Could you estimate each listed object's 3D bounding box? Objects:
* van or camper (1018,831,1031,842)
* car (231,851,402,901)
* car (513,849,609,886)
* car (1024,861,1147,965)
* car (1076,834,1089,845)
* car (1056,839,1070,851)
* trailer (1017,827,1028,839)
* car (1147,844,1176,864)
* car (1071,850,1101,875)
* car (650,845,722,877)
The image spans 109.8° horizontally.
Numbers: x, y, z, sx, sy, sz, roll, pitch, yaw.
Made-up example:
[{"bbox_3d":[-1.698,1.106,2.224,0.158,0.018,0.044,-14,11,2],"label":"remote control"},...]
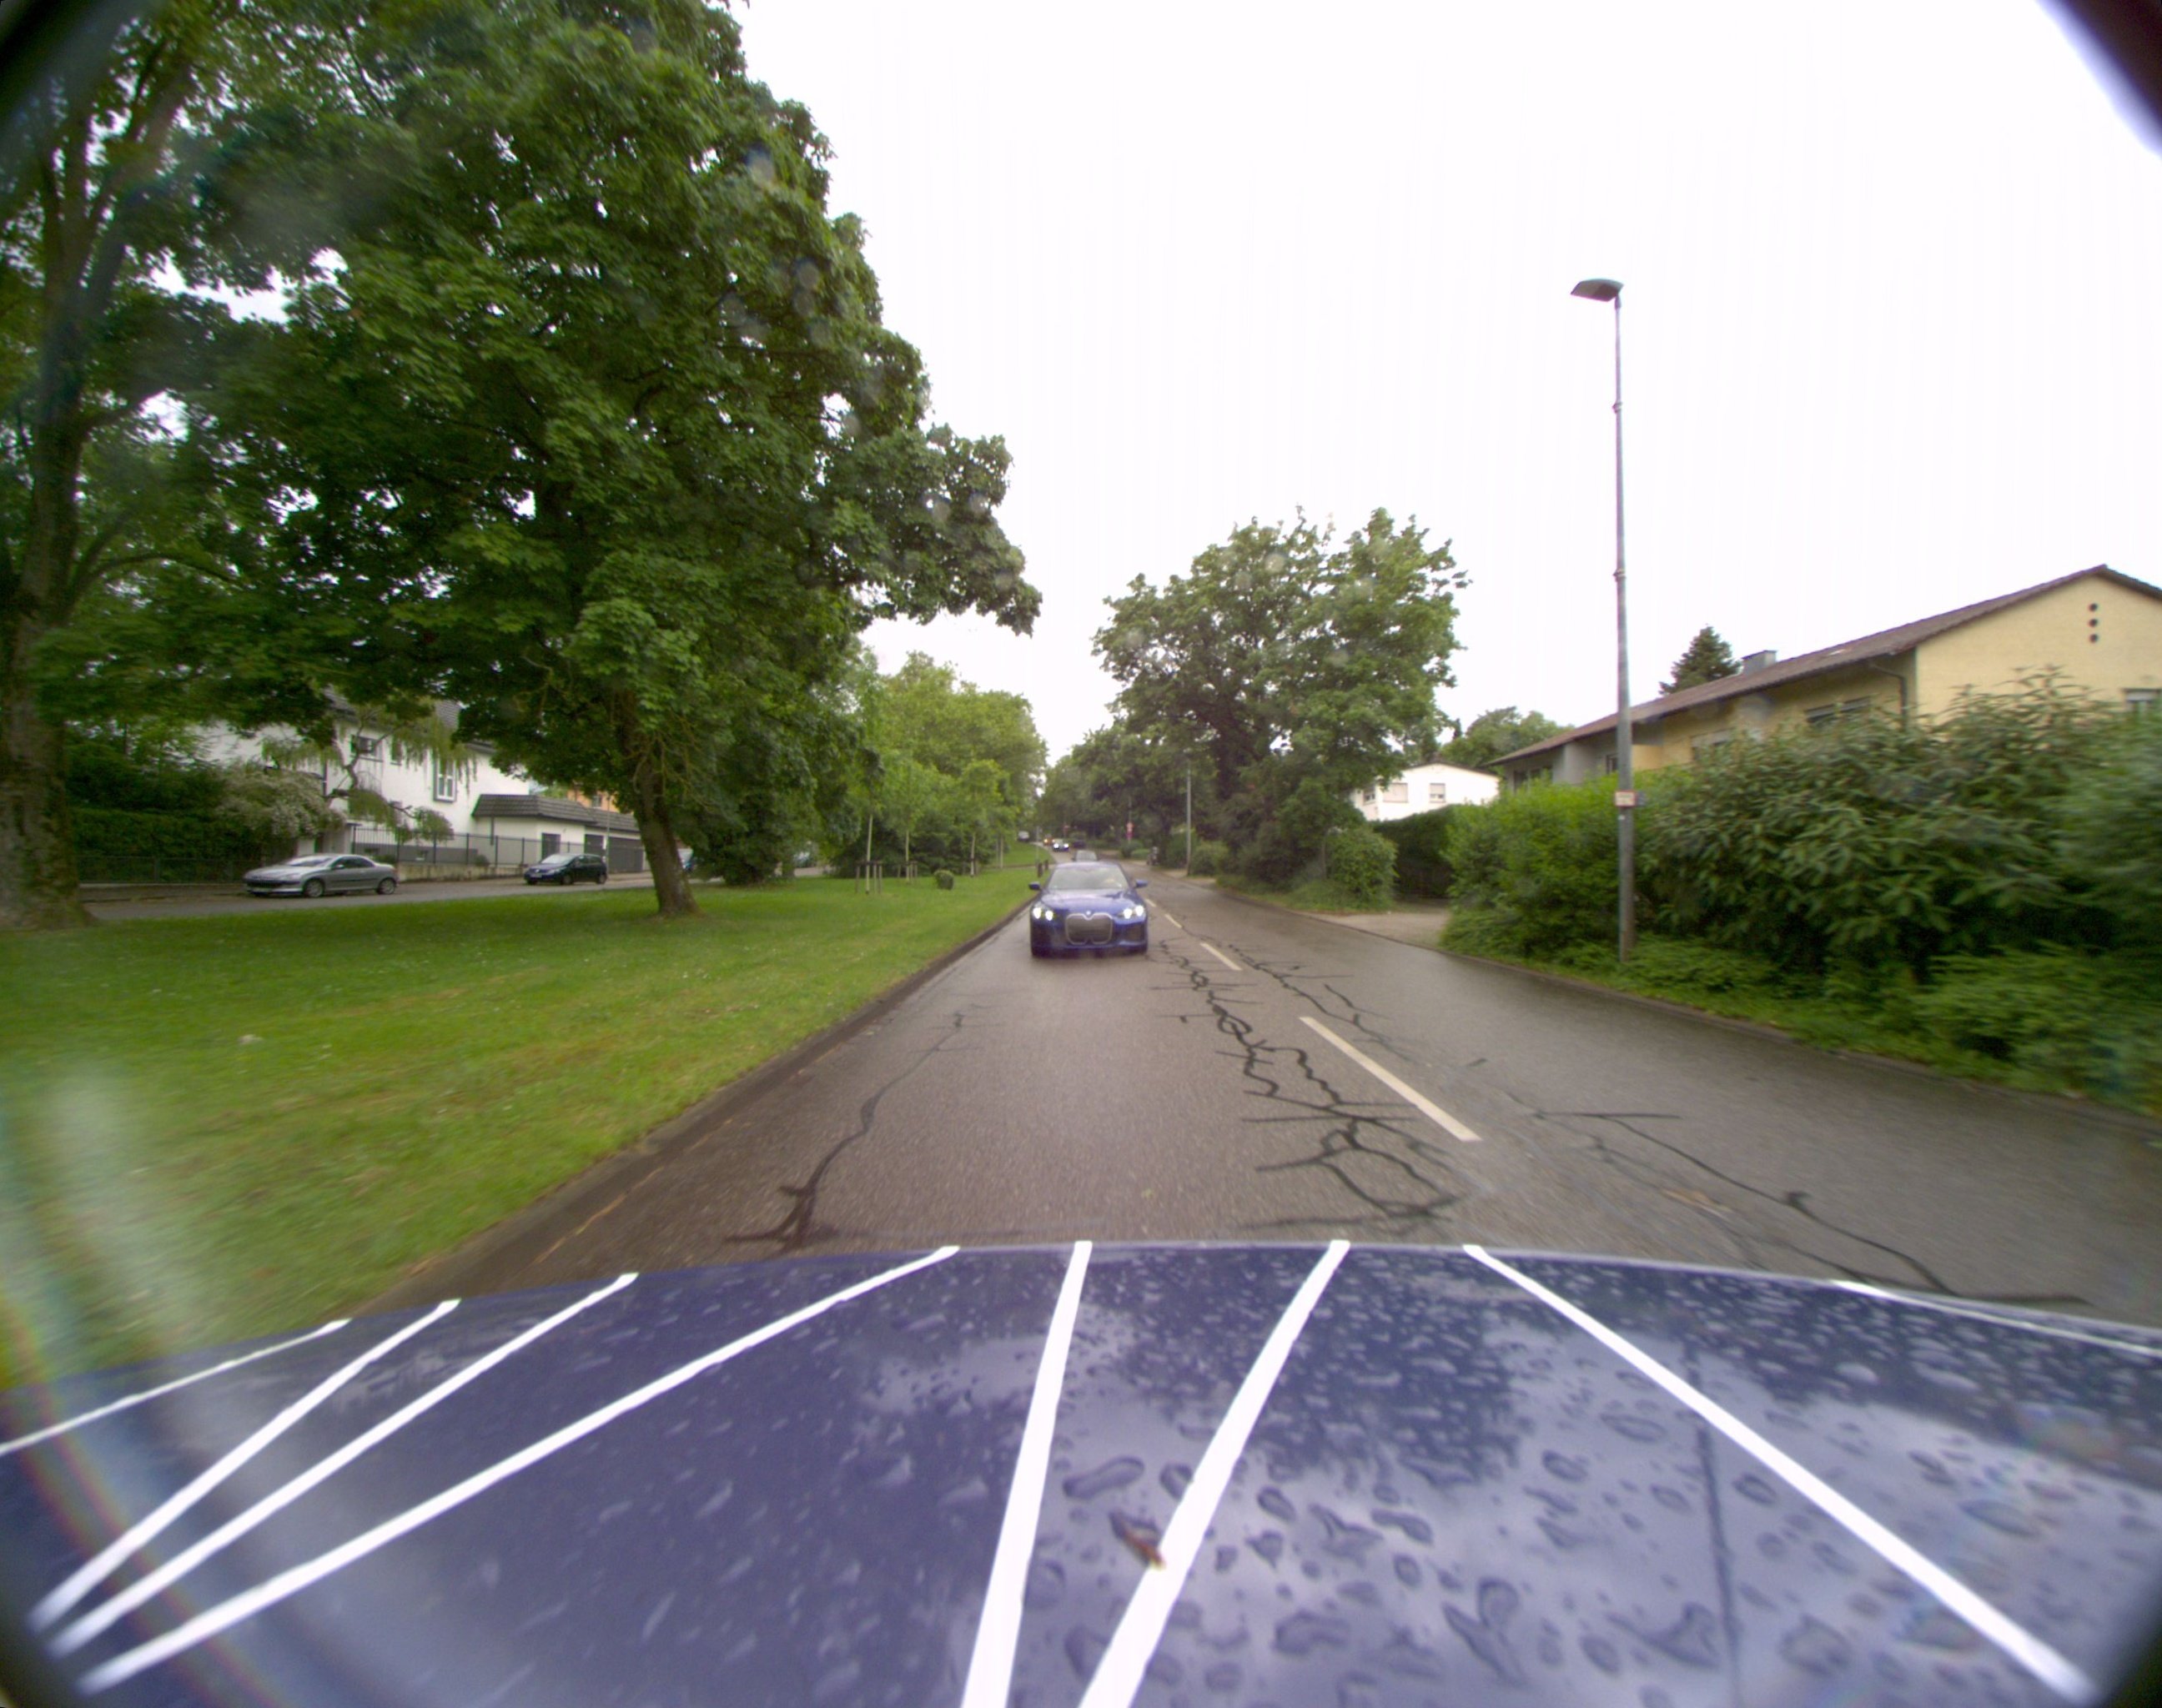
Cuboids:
[{"bbox_3d":[-9.848,-3.068,132.281,2.000,1.858,5.659,1,2,-7],"label":"van or camper"},{"bbox_3d":[-23.879,0.641,23.939,1.686,1.367,3.709,3,0,-2],"label":"car"},{"bbox_3d":[-24.545,0.593,36.077,1.907,1.615,4.033,1,1,-2],"label":"car"},{"bbox_3d":[0.164,0.903,13.500,1.796,1.459,4.510,-1,0,2],"label":"car"},{"bbox_3d":[0.139,-2.071,110.261,1.759,1.356,4.322,2,3,-1],"label":"car"},{"bbox_3d":[-2.416,-1.191,101.421,1.678,1.542,3.832,1,1,1],"label":"car"},{"bbox_3d":[-10.540,-3.764,137.090,1.702,2.042,3.947,0,2,-7],"label":"trailer"},{"bbox_3d":[6.834,-0.016,65.002,1.668,1.533,4.281,-3,2,-3],"label":"car"},{"bbox_3d":[0.335,0.502,47.232,1.796,1.458,4.510,0,0,1],"label":"car"},{"bbox_3d":[-25.154,0.409,48.619,2.165,1.868,5.068,1,1,-2],"label":"car"}]
